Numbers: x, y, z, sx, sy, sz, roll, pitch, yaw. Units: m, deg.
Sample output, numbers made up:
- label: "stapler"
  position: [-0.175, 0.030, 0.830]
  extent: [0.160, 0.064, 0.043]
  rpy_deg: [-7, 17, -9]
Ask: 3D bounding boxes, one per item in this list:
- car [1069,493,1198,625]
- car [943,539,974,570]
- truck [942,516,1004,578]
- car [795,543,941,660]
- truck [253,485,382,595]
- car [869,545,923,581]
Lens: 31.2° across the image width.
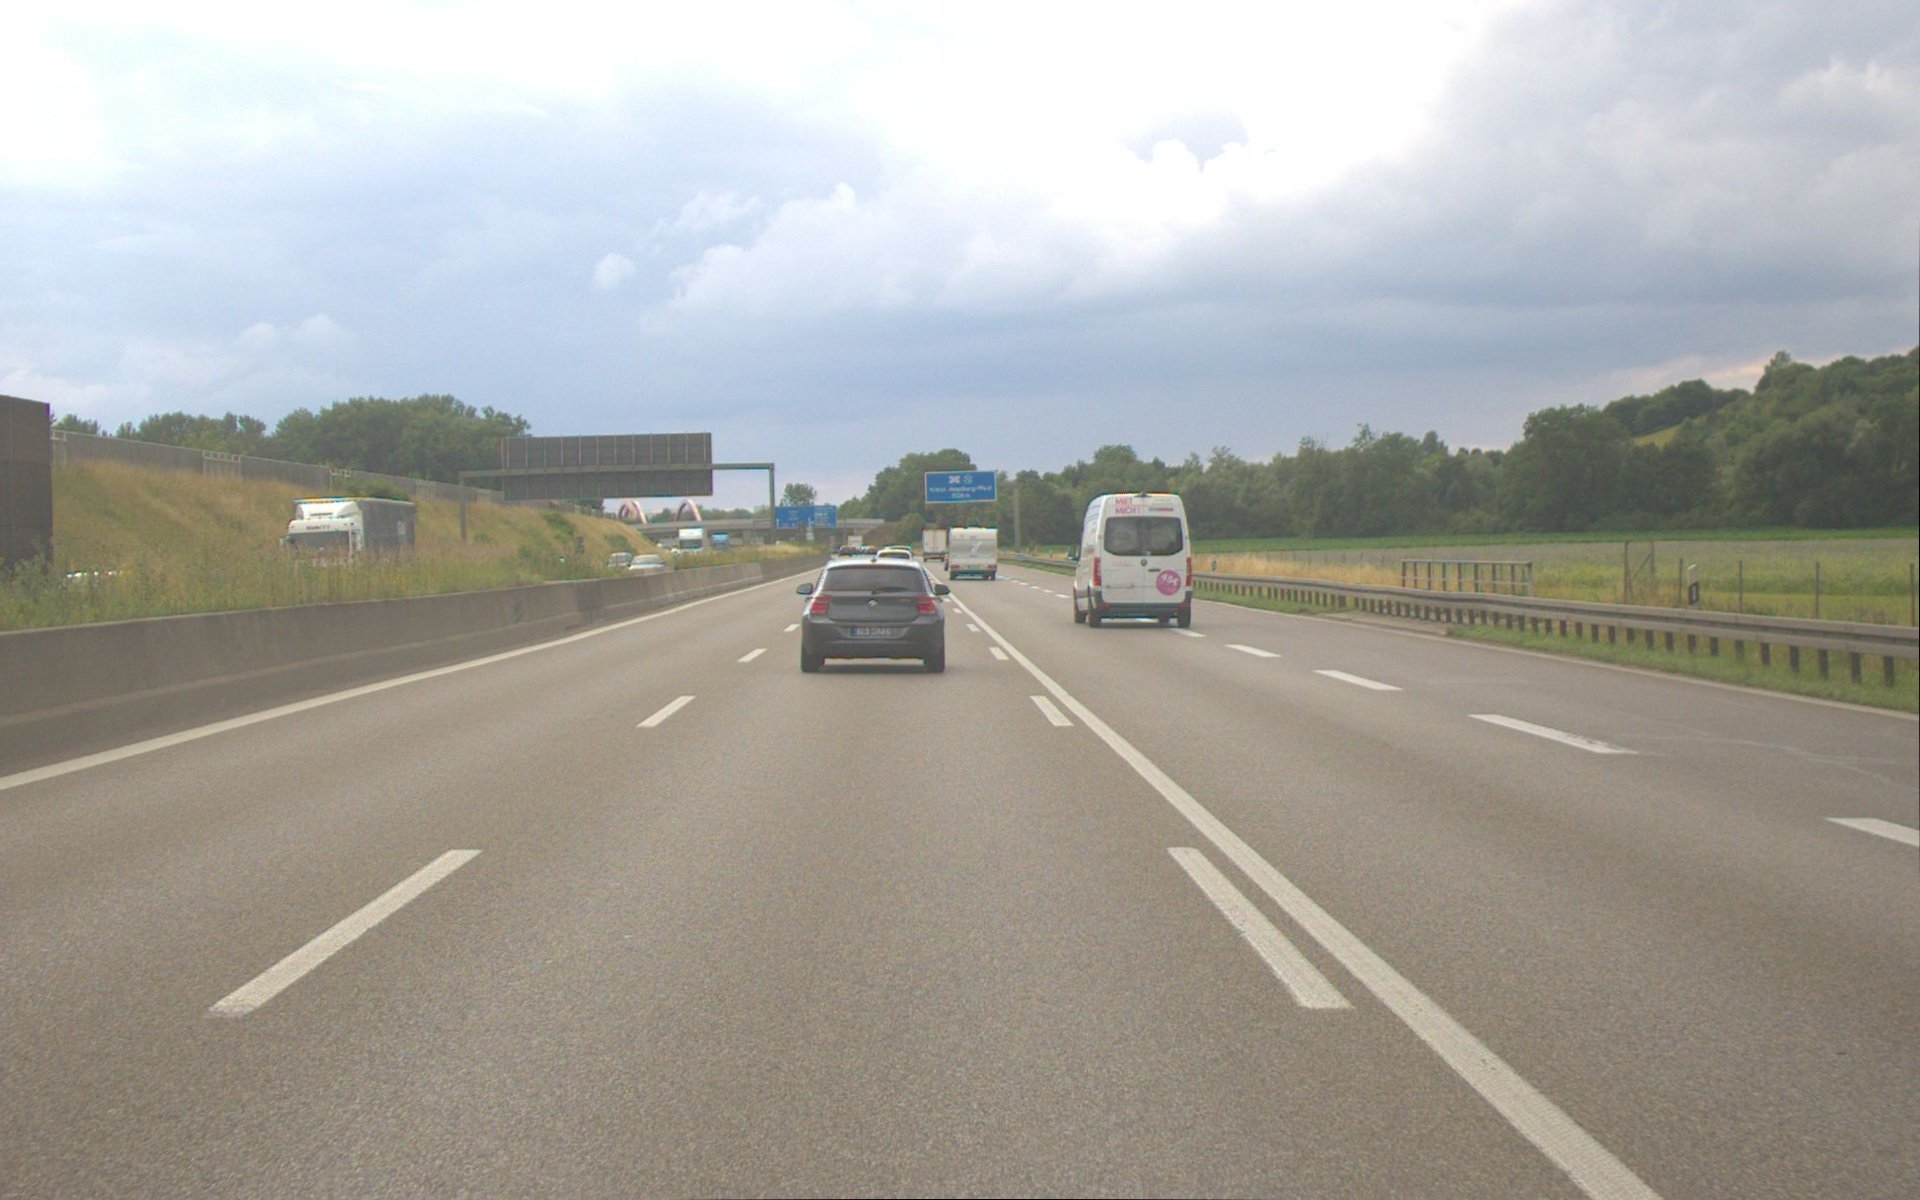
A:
- label: "car"
  position: [3.472, -0.856, 69.934]
  extent: [2.221, 2.559, 6.256]
  rpy_deg: [0, 1, -1]
- label: "car"
  position: [-0.118, -3.057, 229.711]
  extent: [1.993, 2.007, 4.000]
  rpy_deg: [0, 1, -1]
- label: "truck"
  position: [0.600, -2.643, 171.393]
  extent: [2.710, 2.954, 12.448]
  rpy_deg: [1, 1, -1]
- label: "car"
  position: [-1.139, -0.015, 43.274]
  extent: [1.743, 1.384, 4.000]
  rpy_deg: [0, 1, -1]
- label: "truck"
  position: [-23.787, -2.230, 127.575]
  extent: [3.668, 3.934, 6.014]
  rpy_deg: [1, 1, -1]
- label: "car"
  position: [-2.424, -1.390, 129.716]
  extent: [1.993, 1.293, 4.000]
  rpy_deg: [-1, 1, -2]
